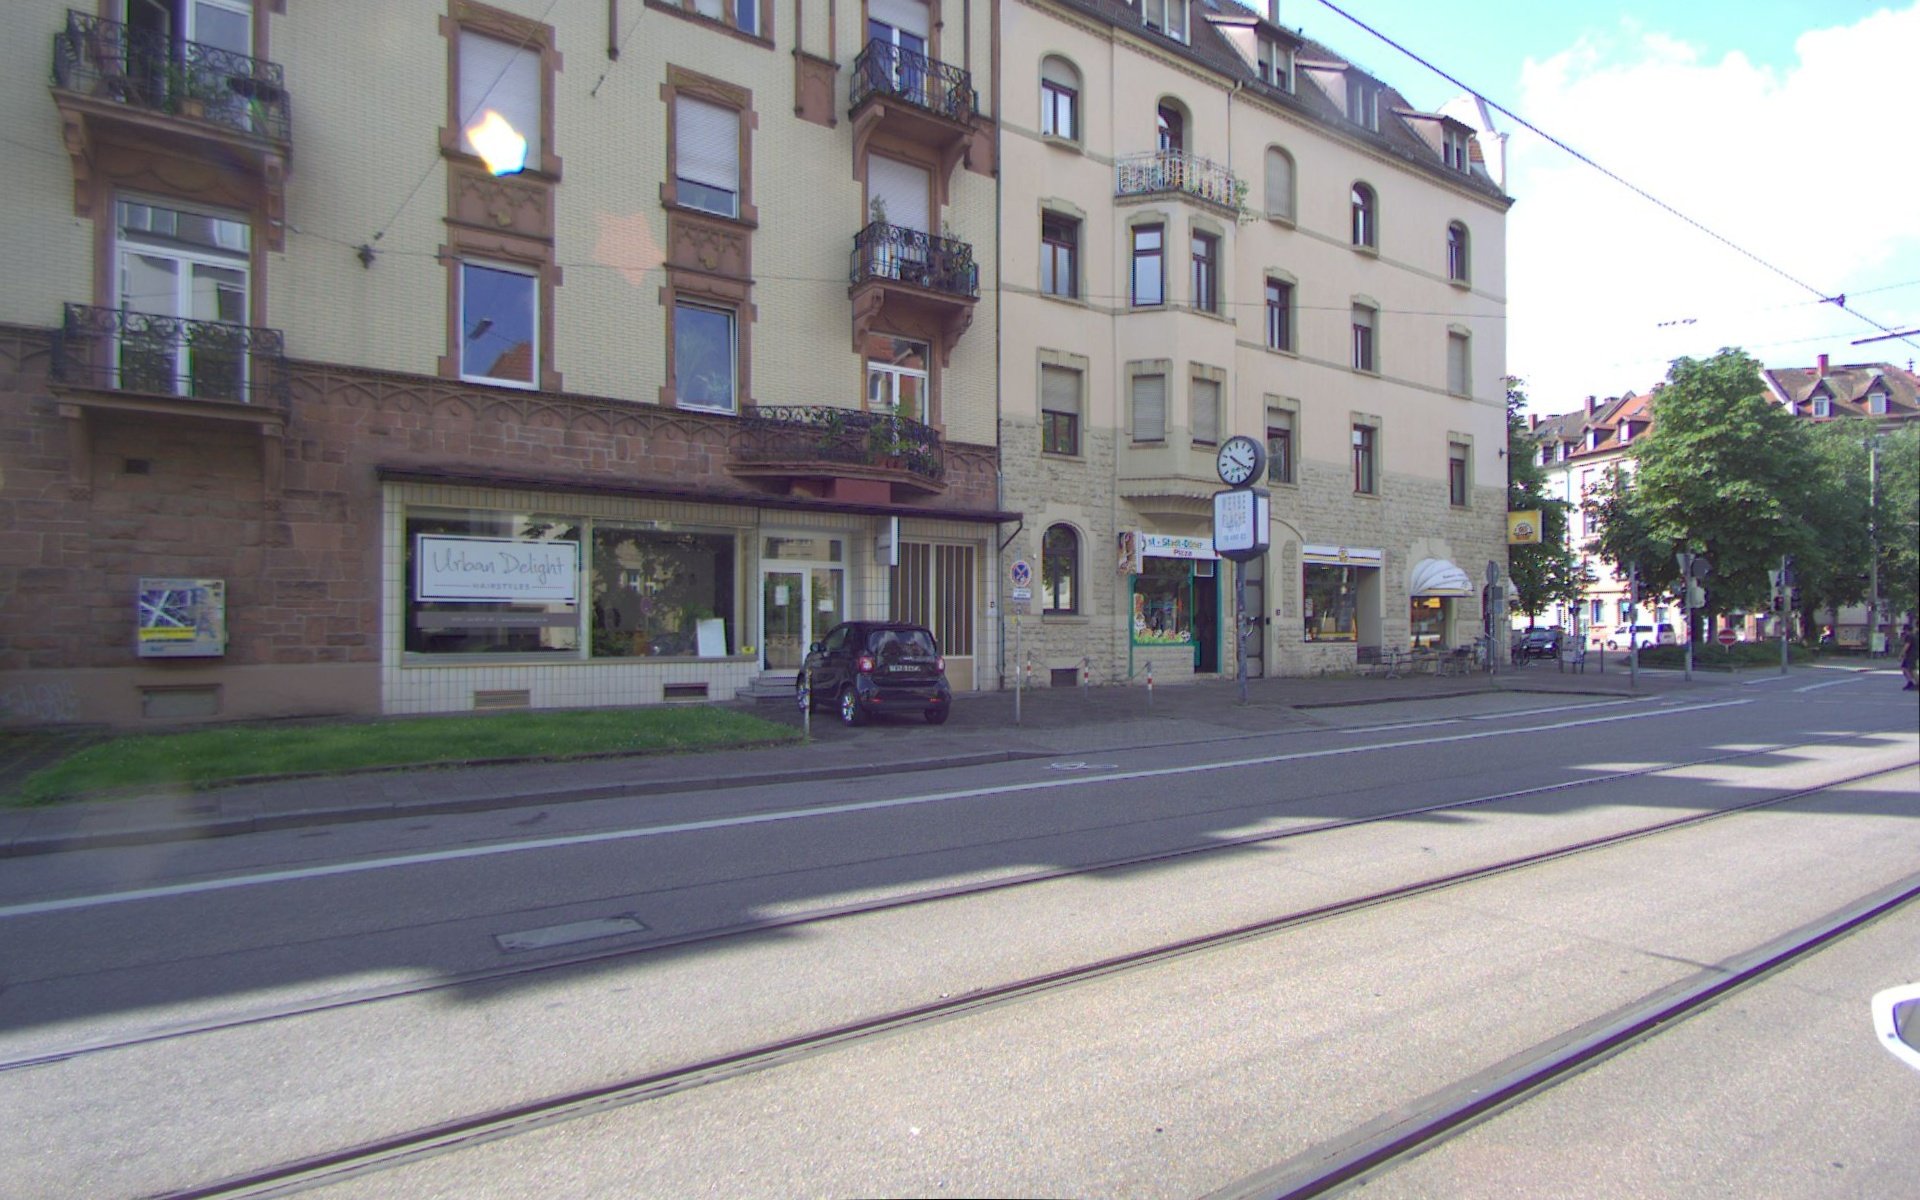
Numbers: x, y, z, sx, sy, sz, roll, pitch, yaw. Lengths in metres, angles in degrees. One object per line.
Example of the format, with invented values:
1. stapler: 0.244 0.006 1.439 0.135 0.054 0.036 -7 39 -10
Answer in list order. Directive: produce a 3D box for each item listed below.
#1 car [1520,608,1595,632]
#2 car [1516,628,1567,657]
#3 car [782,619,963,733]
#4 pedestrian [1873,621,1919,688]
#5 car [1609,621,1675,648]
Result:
1. car: 40.919 1.382 68.827 1.976 1.617 3.970 1 -2 -29
2. car: 32.074 2.306 55.365 1.735 1.538 4.048 -1 -2 41
3. car: -1.493 1.126 16.149 1.716 1.505 3.163 1 1 -30
4. pedestrian: 24.234 1.388 25.907 0.690 1.706 0.750 0 -1 -21
5. car: 50.785 2.537 74.891 1.962 1.929 3.997 0 -1 -5
